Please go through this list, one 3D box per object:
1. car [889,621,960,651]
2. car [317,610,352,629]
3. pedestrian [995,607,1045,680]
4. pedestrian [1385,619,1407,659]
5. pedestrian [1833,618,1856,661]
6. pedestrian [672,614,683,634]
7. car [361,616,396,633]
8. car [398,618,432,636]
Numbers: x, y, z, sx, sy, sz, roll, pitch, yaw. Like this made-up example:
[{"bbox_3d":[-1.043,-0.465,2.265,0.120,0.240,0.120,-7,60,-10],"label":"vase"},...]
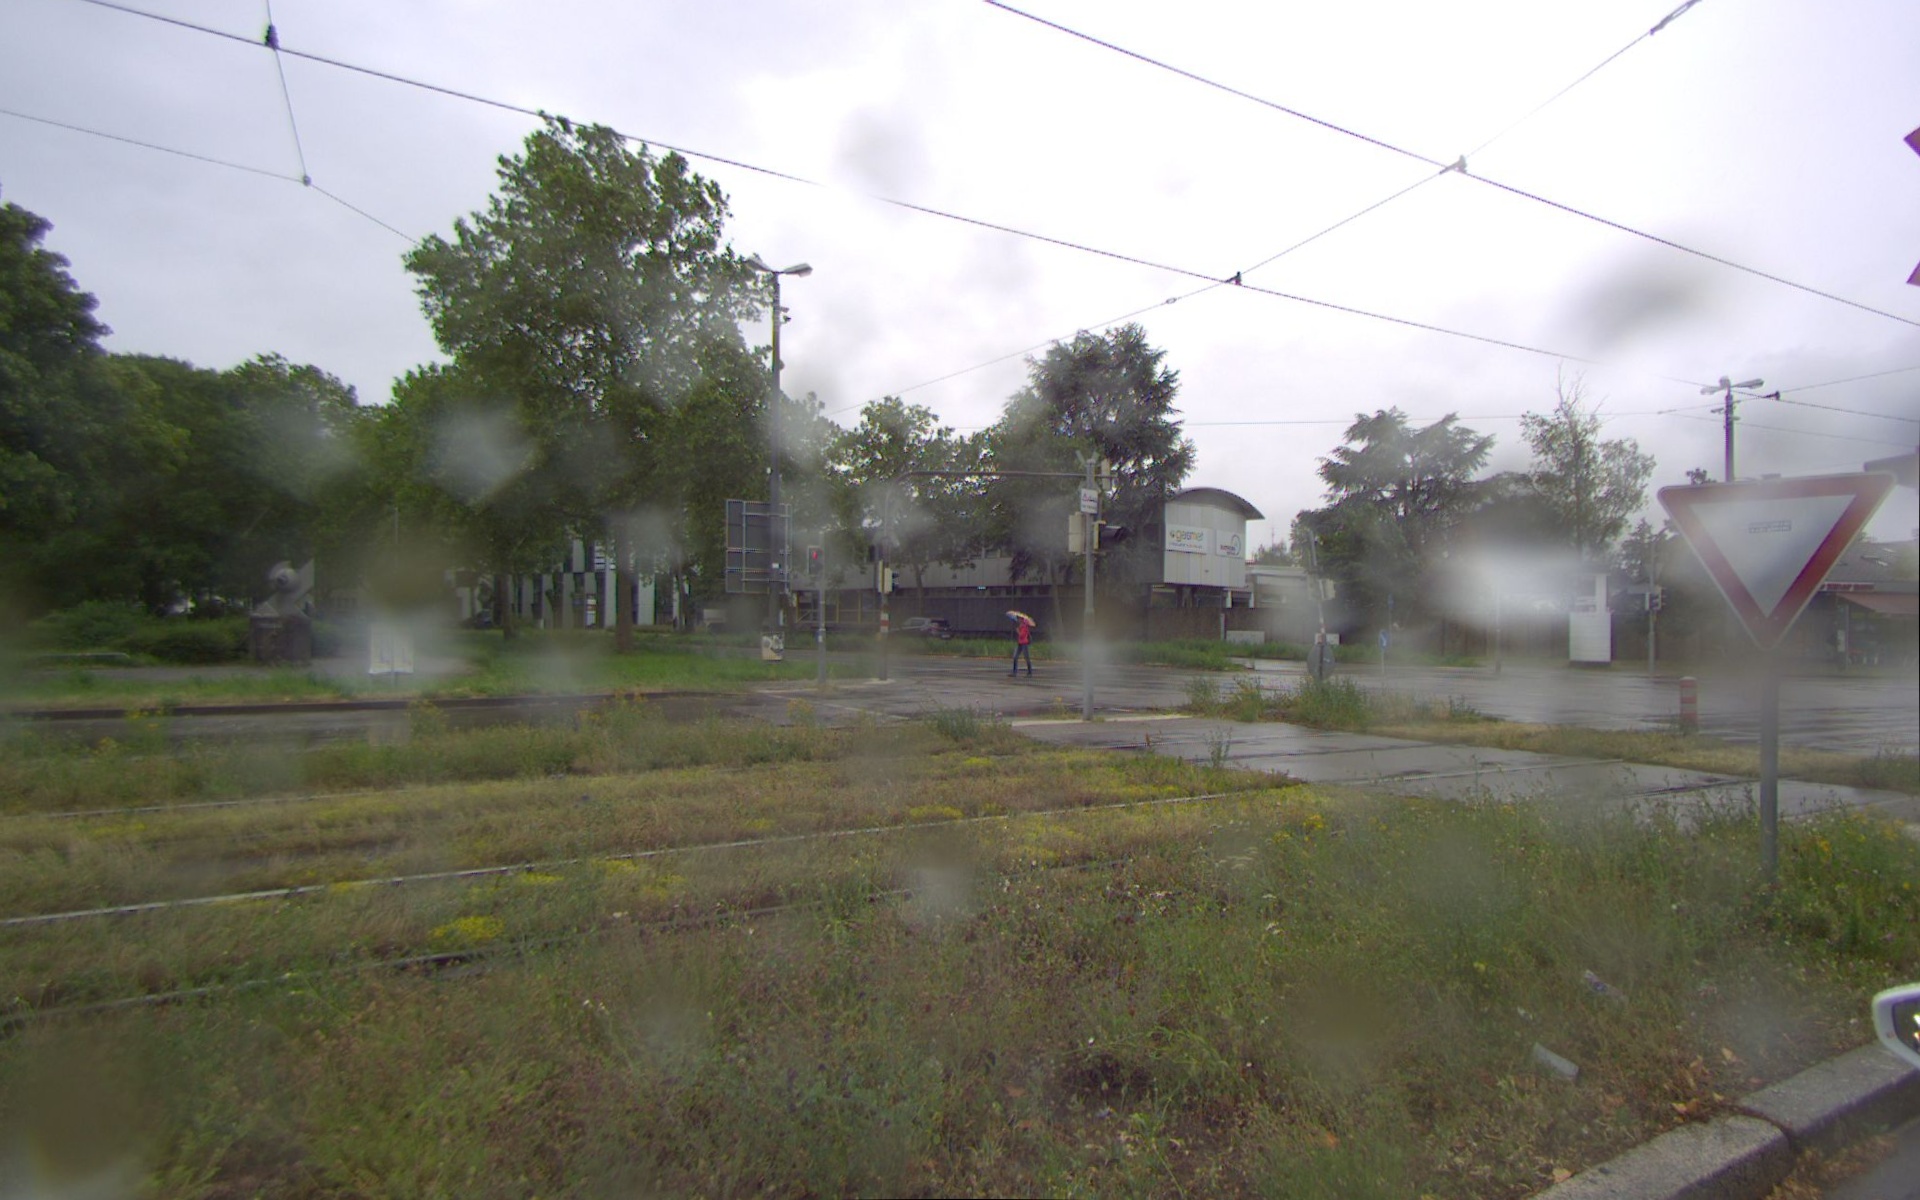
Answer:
[{"bbox_3d":[-1.950,1.911,53.743,1.679,1.417,4.087,2,0,-39],"label":"car"},{"bbox_3d":[-75.319,2.374,120.886,3.932,2.116,2.123,2,0,33],"label":"car"},{"bbox_3d":[1.700,1.221,28.420,0.998,2.017,0.945,2,0,-34],"label":"pedestrian"},{"bbox_3d":[20.357,1.816,46.903,0.870,1.821,0.726,2,1,26],"label":"pedestrian"},{"bbox_3d":[43.026,1.918,48.871,0.714,2.040,0.791,2,0,38],"label":"pedestrian"},{"bbox_3d":[-24.992,2.138,88.870,0.667,1.690,0.816,2,0,-37],"label":"pedestrian"},{"bbox_3d":[-65.888,2.770,113.859,3.934,1.806,1.993,2,0,36],"label":"car"},{"bbox_3d":[-59.768,2.998,110.236,3.940,1.806,1.990,2,0,41],"label":"car"}]
